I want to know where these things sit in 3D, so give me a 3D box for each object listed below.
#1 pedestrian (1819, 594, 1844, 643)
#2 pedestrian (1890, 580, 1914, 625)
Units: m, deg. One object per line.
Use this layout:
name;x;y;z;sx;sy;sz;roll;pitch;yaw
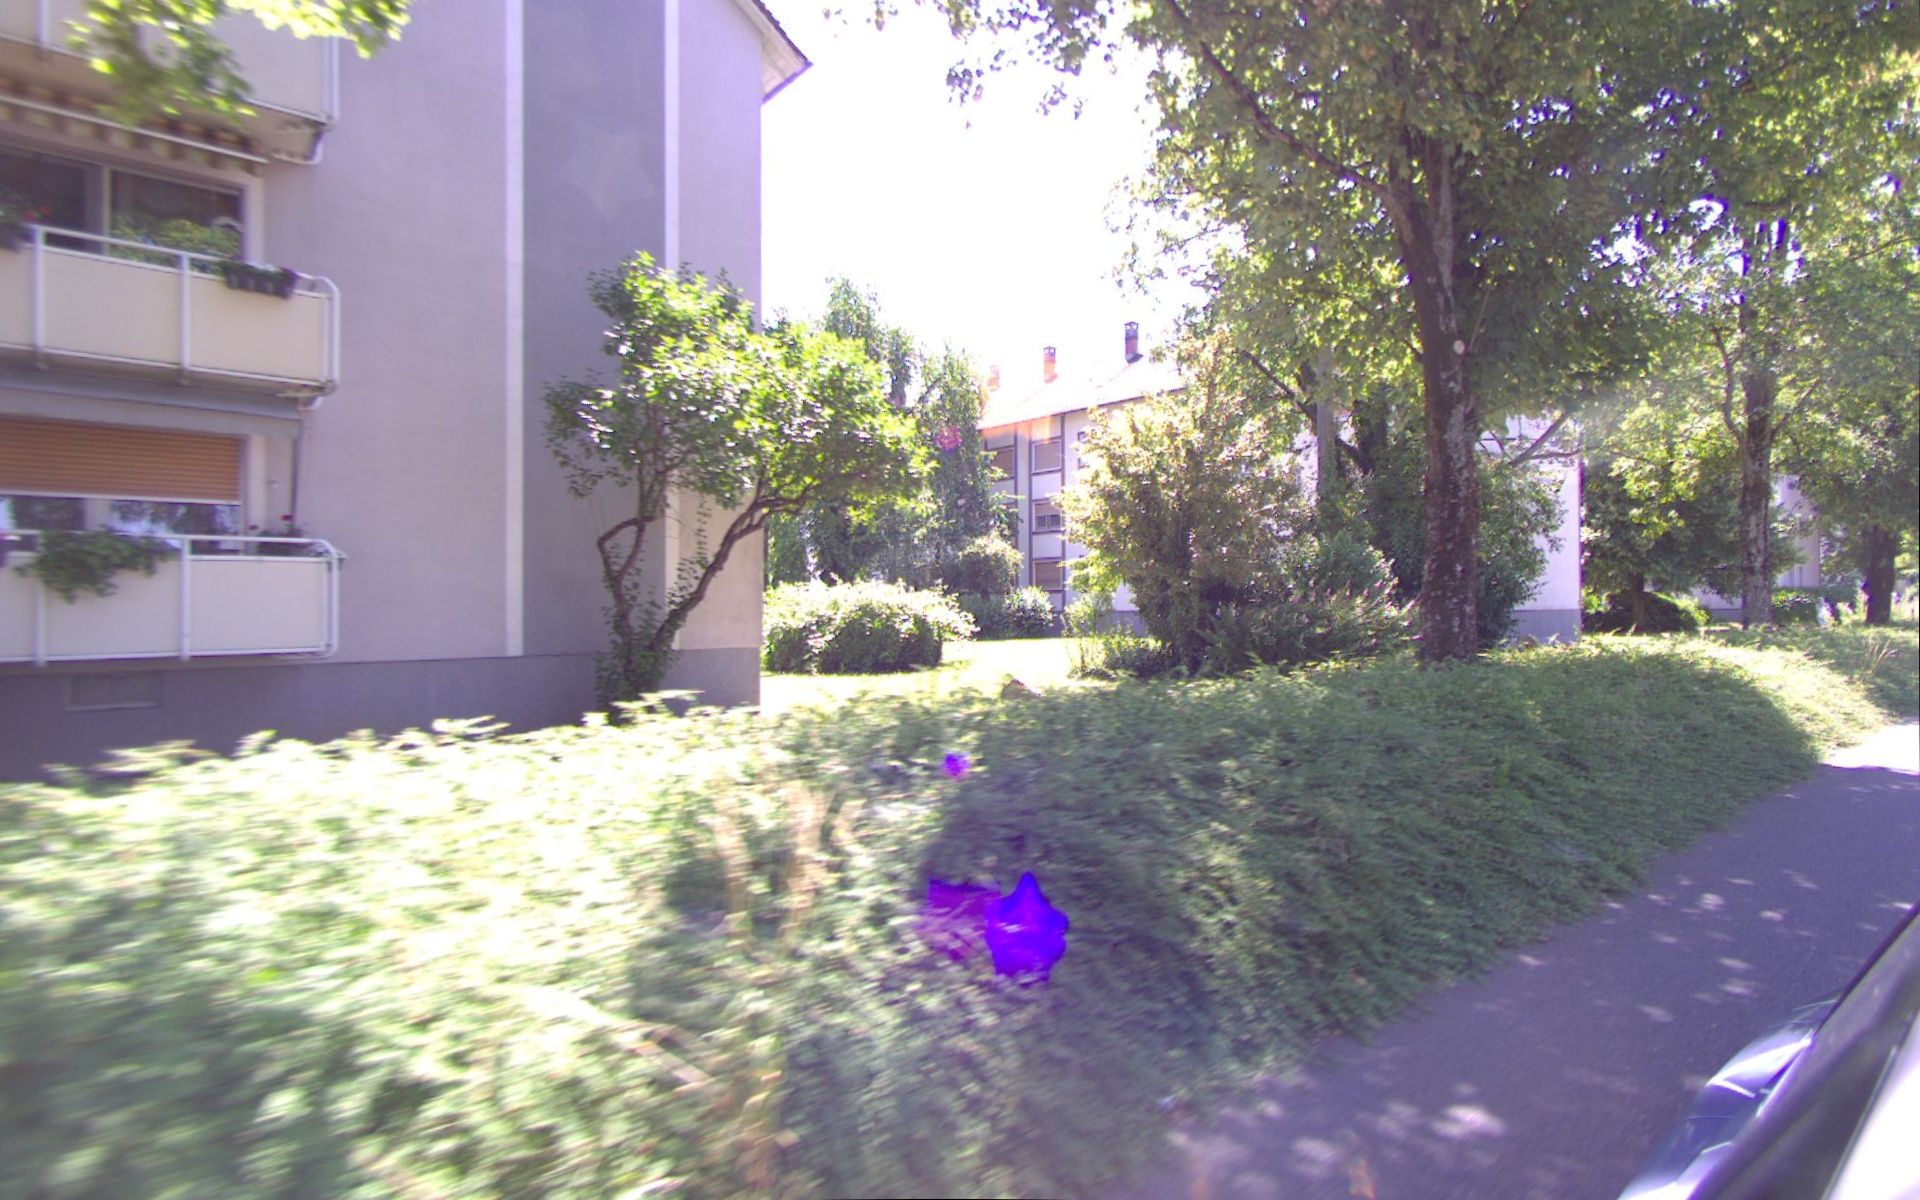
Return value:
pedestrian;35.547;0.753;41.277;0.610;1.950;0.677;0;-1;-41
pedestrian;40.954;0.120;43.982;0.610;1.950;0.677;0;-1;-41
